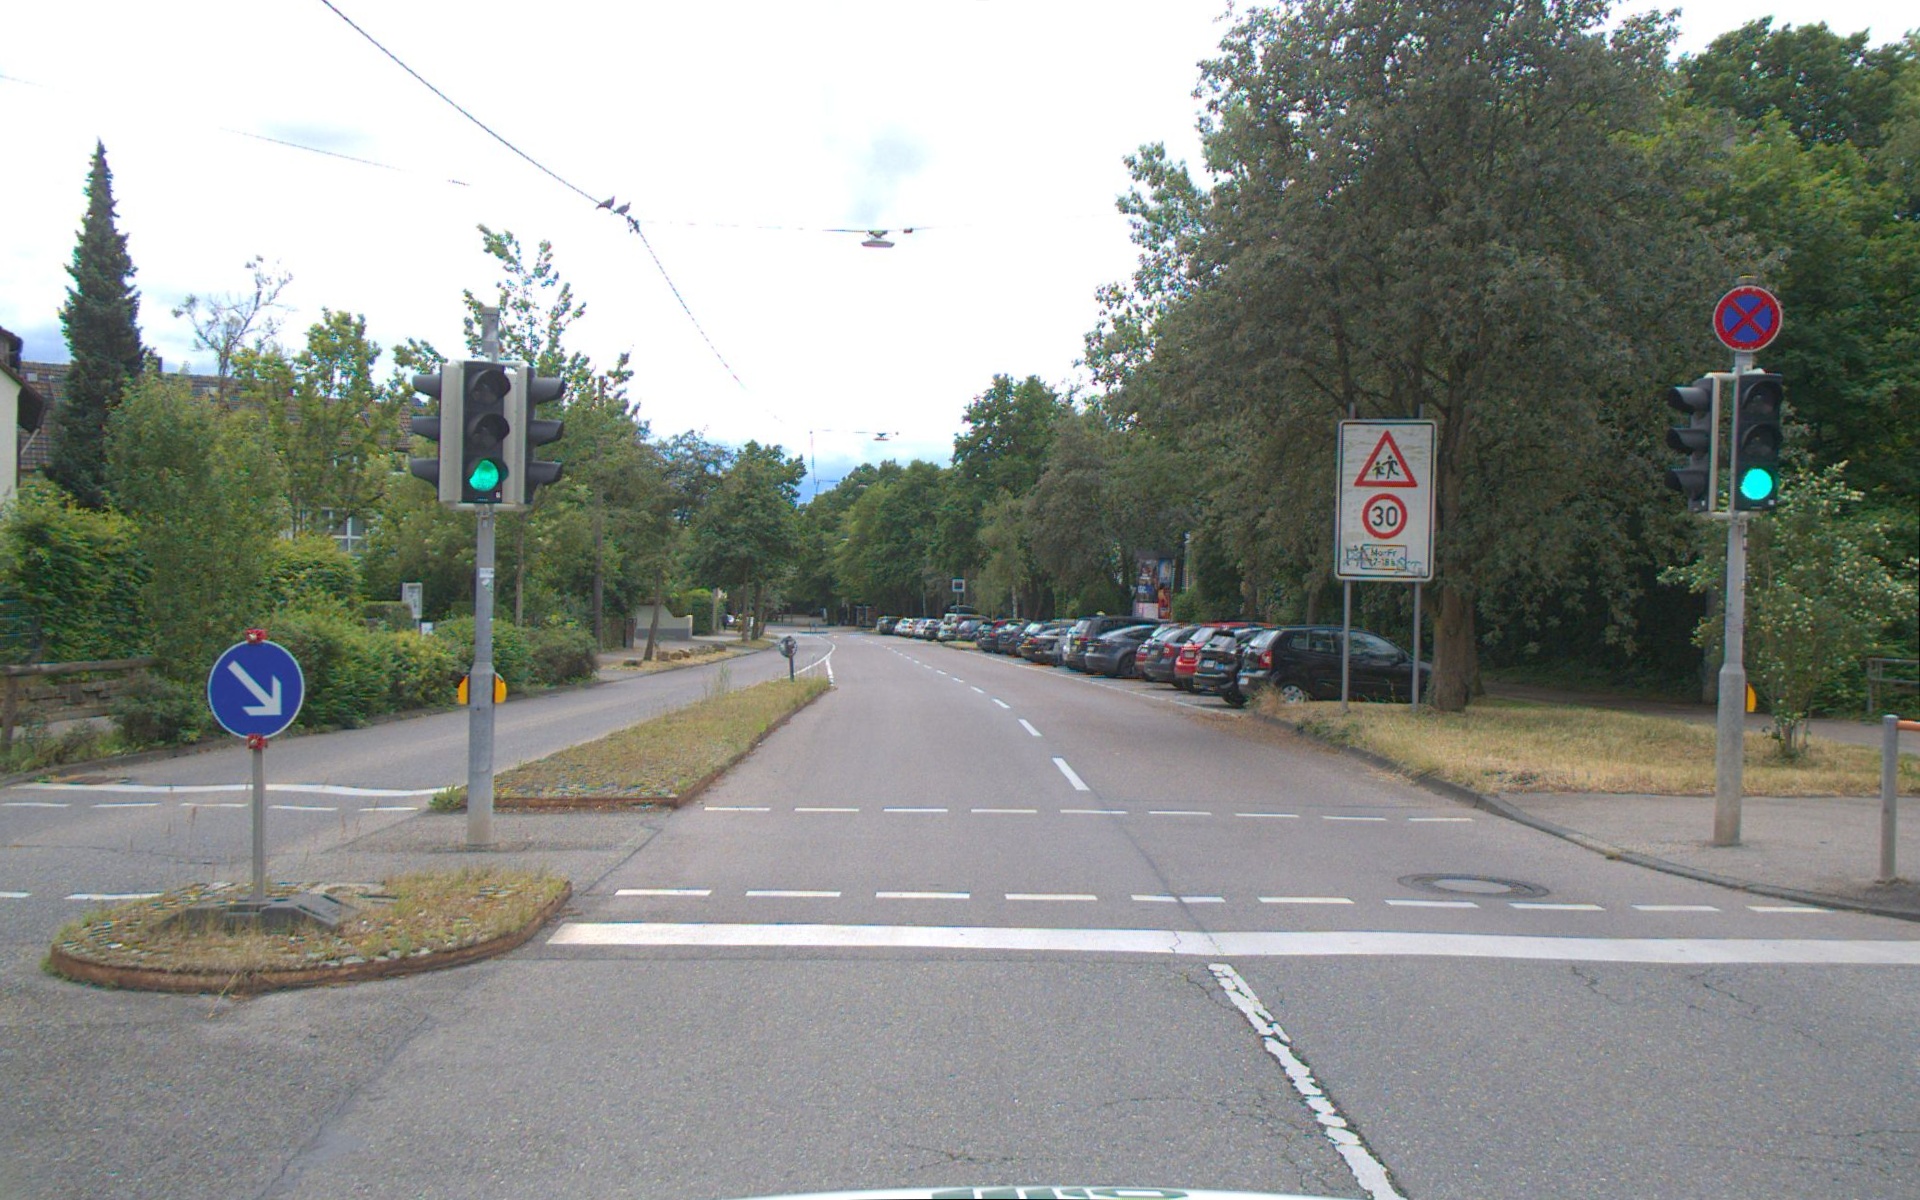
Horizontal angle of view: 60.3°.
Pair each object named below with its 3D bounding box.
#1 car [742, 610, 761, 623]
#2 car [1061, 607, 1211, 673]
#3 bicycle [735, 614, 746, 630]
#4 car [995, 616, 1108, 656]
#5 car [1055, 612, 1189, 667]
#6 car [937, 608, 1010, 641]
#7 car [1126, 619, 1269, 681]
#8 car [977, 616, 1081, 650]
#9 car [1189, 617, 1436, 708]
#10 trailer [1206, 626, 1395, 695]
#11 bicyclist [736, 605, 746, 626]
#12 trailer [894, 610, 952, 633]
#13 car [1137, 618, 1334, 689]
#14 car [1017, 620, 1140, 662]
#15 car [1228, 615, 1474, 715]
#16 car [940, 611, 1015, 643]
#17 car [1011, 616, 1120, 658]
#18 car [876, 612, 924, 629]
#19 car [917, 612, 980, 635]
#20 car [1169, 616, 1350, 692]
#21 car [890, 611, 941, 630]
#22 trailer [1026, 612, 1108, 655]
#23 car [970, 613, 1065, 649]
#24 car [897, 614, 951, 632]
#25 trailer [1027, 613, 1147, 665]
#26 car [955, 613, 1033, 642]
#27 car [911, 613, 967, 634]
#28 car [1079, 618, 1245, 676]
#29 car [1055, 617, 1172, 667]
[{"bbox_3d":[-23.591,1.868,187.100,1.834,1.496,3.988,1,0,-11],"label":"car"},{"bbox_3d":[5.025,1.149,47.366,3.918,1.755,1.674,2,-1,-14],"label":"car"},{"bbox_3d":[-18.415,1.824,138.976,0.828,1.288,2.648,2,0,-6],"label":"bicycle"},{"bbox_3d":[3.730,1.476,67.423,4.278,1.471,1.625,2,0,-19],"label":"car"},{"bbox_3d":[4.882,1.186,50.148,3.749,1.556,1.603,2,-1,-9],"label":"car"},{"bbox_3d":[0.799,1.479,99.105,4.045,1.785,1.768,2,-1,-32],"label":"car"},{"bbox_3d":[6.109,1.277,42.709,3.270,1.490,1.629,2,-1,-15],"label":"car"},{"bbox_3d":[3.031,1.468,72.894,4.246,1.364,1.724,2,-1,-19],"label":"car"},{"bbox_3d":[6.332,1.120,29.763,4.067,1.502,1.570,2,-1,-15],"label":"car"},{"bbox_3d":[6.774,1.198,33.031,3.344,1.289,1.610,2,-1,-14],"label":"trailer"},{"bbox_3d":[-18.401,1.307,138.936,0.829,1.727,0.712,2,0,-7],"label":"bicyclist"},{"bbox_3d":[-2.827,1.647,125.721,4.099,1.601,1.699,2,-1,-24],"label":"trailer"},{"bbox_3d":[6.277,1.212,37.793,4.147,1.490,1.629,2,-1,-14],"label":"car"},{"bbox_3d":[4.103,1.427,57.482,3.968,1.351,1.554,2,-1,-14],"label":"car"},{"bbox_3d":[6.463,1.068,27.540,3.645,1.502,1.574,2,0,-7],"label":"car"},{"bbox_3d":[1.009,1.569,96.169,3.939,1.648,1.873,2,-1,-21],"label":"car"},{"bbox_3d":[4.010,1.411,62.841,3.778,1.481,1.627,2,-1,-17],"label":"car"},{"bbox_3d":[-5.324,1.813,146.608,3.834,1.454,1.730,2,-1,-25],"label":"car"},{"bbox_3d":[-0.784,1.620,112.495,3.841,1.474,1.827,2,-1,-29],"label":"car"},{"bbox_3d":[6.372,1.145,35.260,3.467,1.502,1.585,2,-1,-17],"label":"car"},{"bbox_3d":[-3.654,1.702,136.729,3.834,1.454,1.730,2,-1,-25],"label":"car"},{"bbox_3d":[4.236,1.323,65.384,2.939,1.569,1.297,2,0,-18],"label":"trailer"},{"bbox_3d":[2.639,1.430,75.713,4.022,1.542,1.719,1,-1,-27],"label":"car"},{"bbox_3d":[-2.791,1.788,128.418,3.842,1.332,1.727,2,-1,-29],"label":"car"},{"bbox_3d":[4.200,1.275,54.836,3.628,1.562,1.639,2,0,-16],"label":"trailer"},{"bbox_3d":[1.842,1.497,90.798,3.905,1.430,1.747,2,-1,-20],"label":"car"},{"bbox_3d":[-1.578,1.731,123.648,3.837,1.474,1.729,2,-1,-26],"label":"car"},{"bbox_3d":[5.440,1.268,44.637,4.091,1.431,1.691,2,-1,-16],"label":"car"},{"bbox_3d":[4.878,1.336,52.613,3.370,1.470,1.552,2,-1,-17],"label":"car"}]
